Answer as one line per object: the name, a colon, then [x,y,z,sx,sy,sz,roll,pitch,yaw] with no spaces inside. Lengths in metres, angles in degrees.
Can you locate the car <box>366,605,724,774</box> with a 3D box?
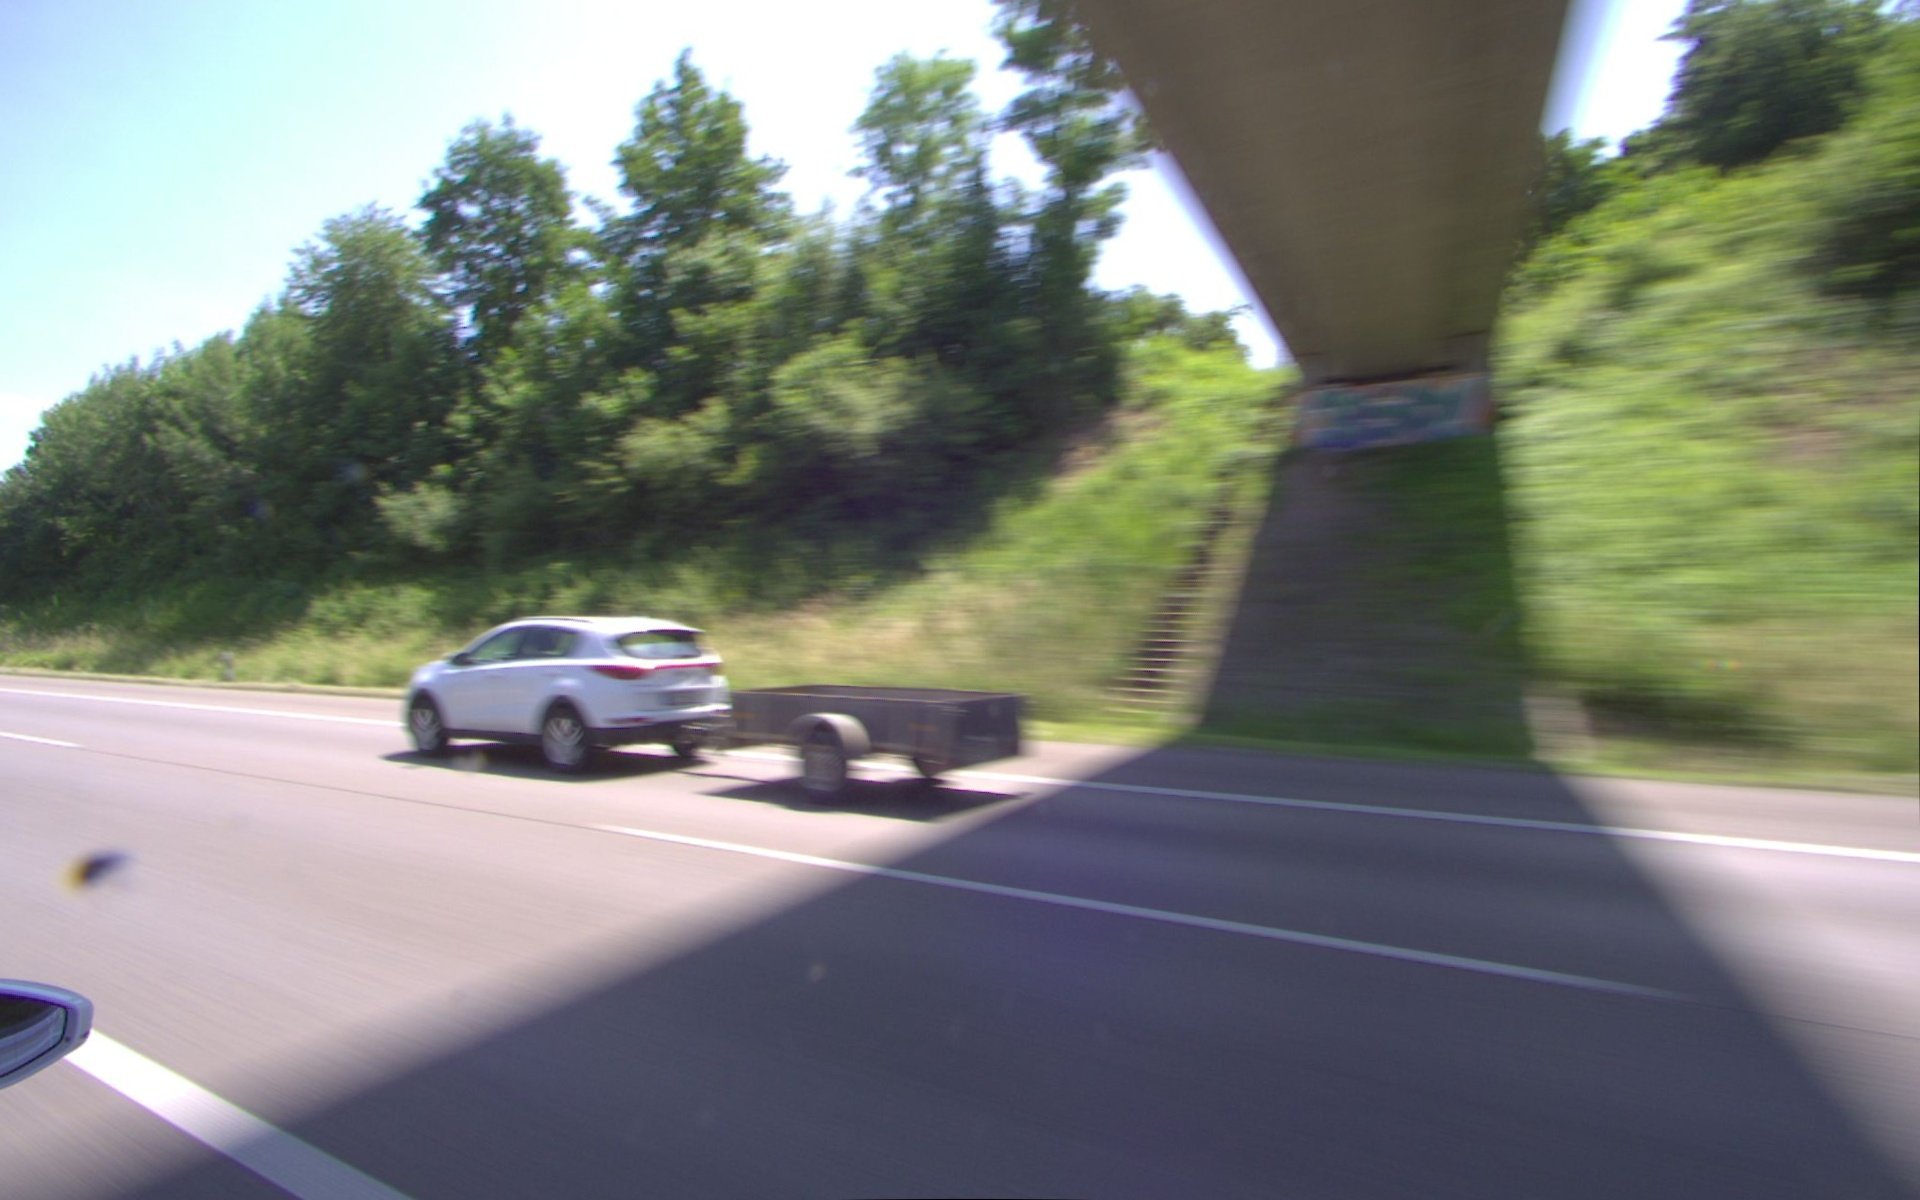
car: [-5.056,0.939,12.034,4.338,1.672,1.778,1,-1,32]

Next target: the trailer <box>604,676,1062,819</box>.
trailer: [-1.313,1.303,9.723,4.256,0.920,1.752,0,-2,31]
